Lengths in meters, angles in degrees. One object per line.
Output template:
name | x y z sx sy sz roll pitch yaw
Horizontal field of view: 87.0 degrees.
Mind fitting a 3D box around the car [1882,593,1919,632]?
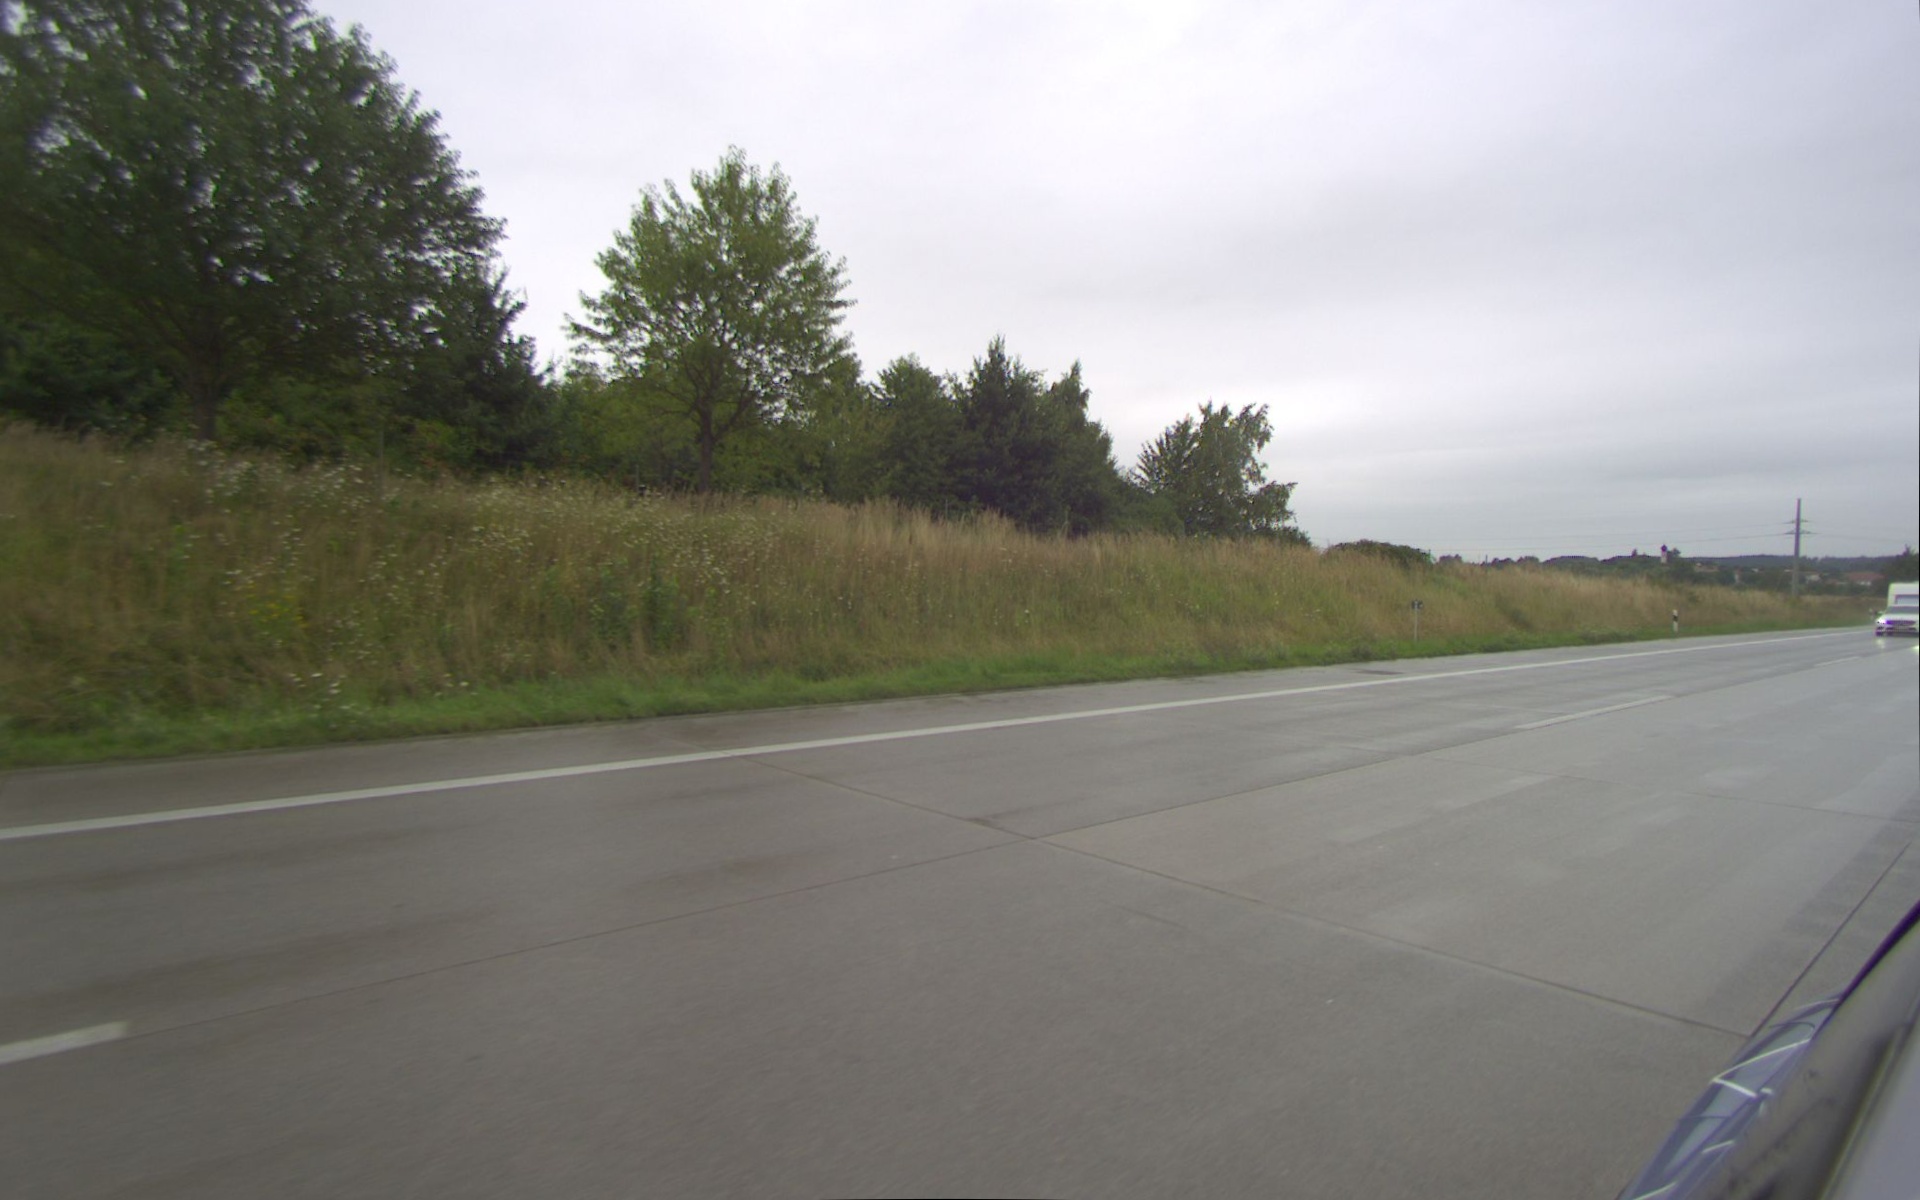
car | 42.900 0.519 45.116 5.849 1.605 1.997 -1 1 -41

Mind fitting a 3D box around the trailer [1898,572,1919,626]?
trailer | 47.403 -0.065 48.882 5.836 2.489 2.348 -2 3 -41
